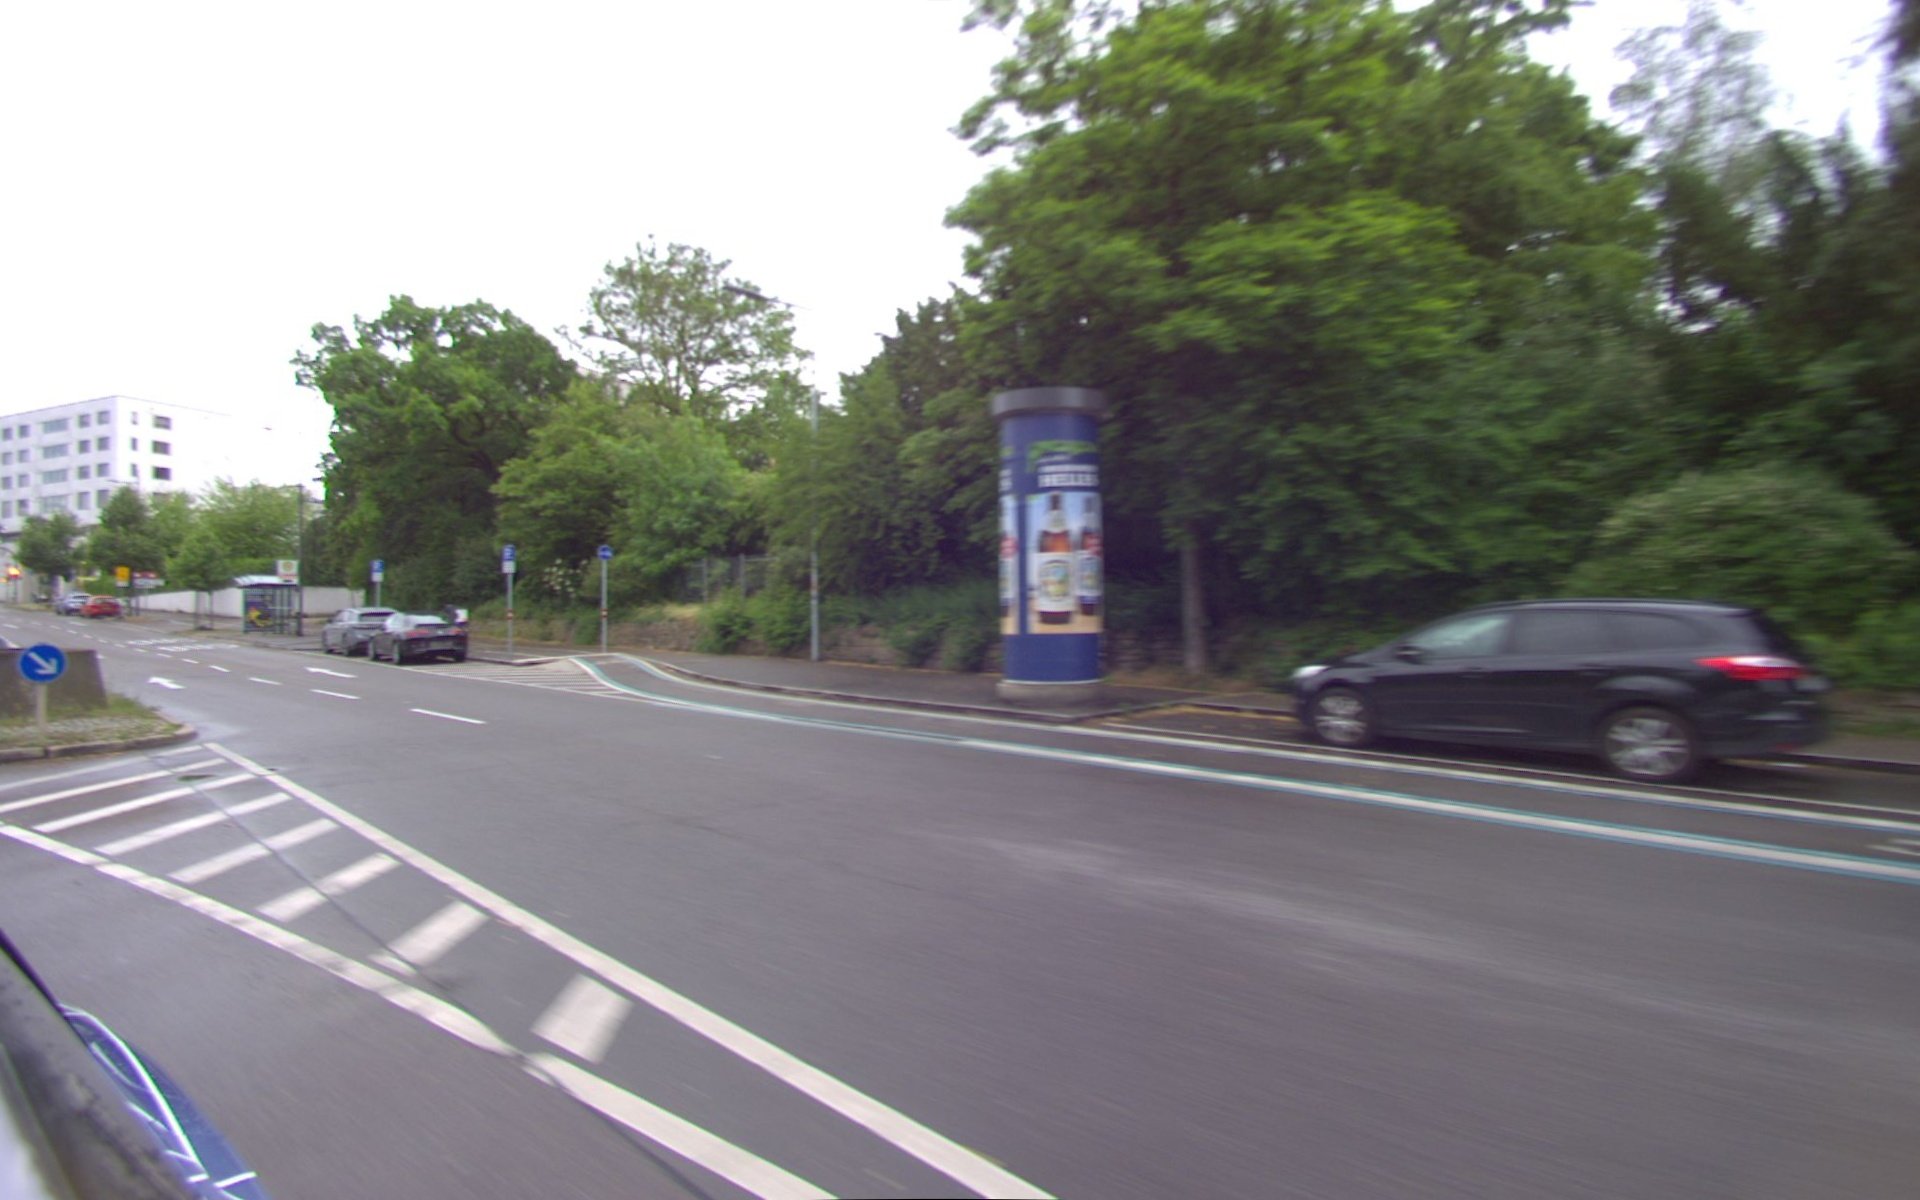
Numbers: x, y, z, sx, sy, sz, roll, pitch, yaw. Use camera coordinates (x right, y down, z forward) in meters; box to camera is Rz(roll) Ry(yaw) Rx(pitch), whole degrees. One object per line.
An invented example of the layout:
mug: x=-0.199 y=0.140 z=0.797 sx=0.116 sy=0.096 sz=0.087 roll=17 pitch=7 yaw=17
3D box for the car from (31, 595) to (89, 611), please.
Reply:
car: x=-98.990 y=0.328 z=111.321 sx=1.986 sy=1.664 sz=4.316 roll=2 pitch=0 yaw=21

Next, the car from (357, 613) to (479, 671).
car: x=-15.628 y=1.142 z=29.044 sx=1.884 sy=1.425 sz=4.787 roll=-2 pitch=1 yaw=-43

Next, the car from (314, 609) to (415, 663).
car: x=-19.870 y=1.127 z=33.664 sx=1.819 sy=1.601 sz=4.933 roll=-2 pitch=1 yaw=-43

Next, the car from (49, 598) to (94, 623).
car: x=-66.237 y=0.754 z=75.413 sx=4.879 sy=1.665 sz=1.747 roll=2 pitch=2 yaw=39

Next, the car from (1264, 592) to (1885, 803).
car: x=5.328 y=0.720 z=9.374 sx=1.727 sy=1.456 sz=4.594 roll=-1 pitch=-1 yaw=-40

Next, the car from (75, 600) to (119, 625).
car: x=-60.731 y=0.864 z=71.194 sx=4.213 sy=1.599 sz=1.648 roll=2 pitch=0 yaw=39
